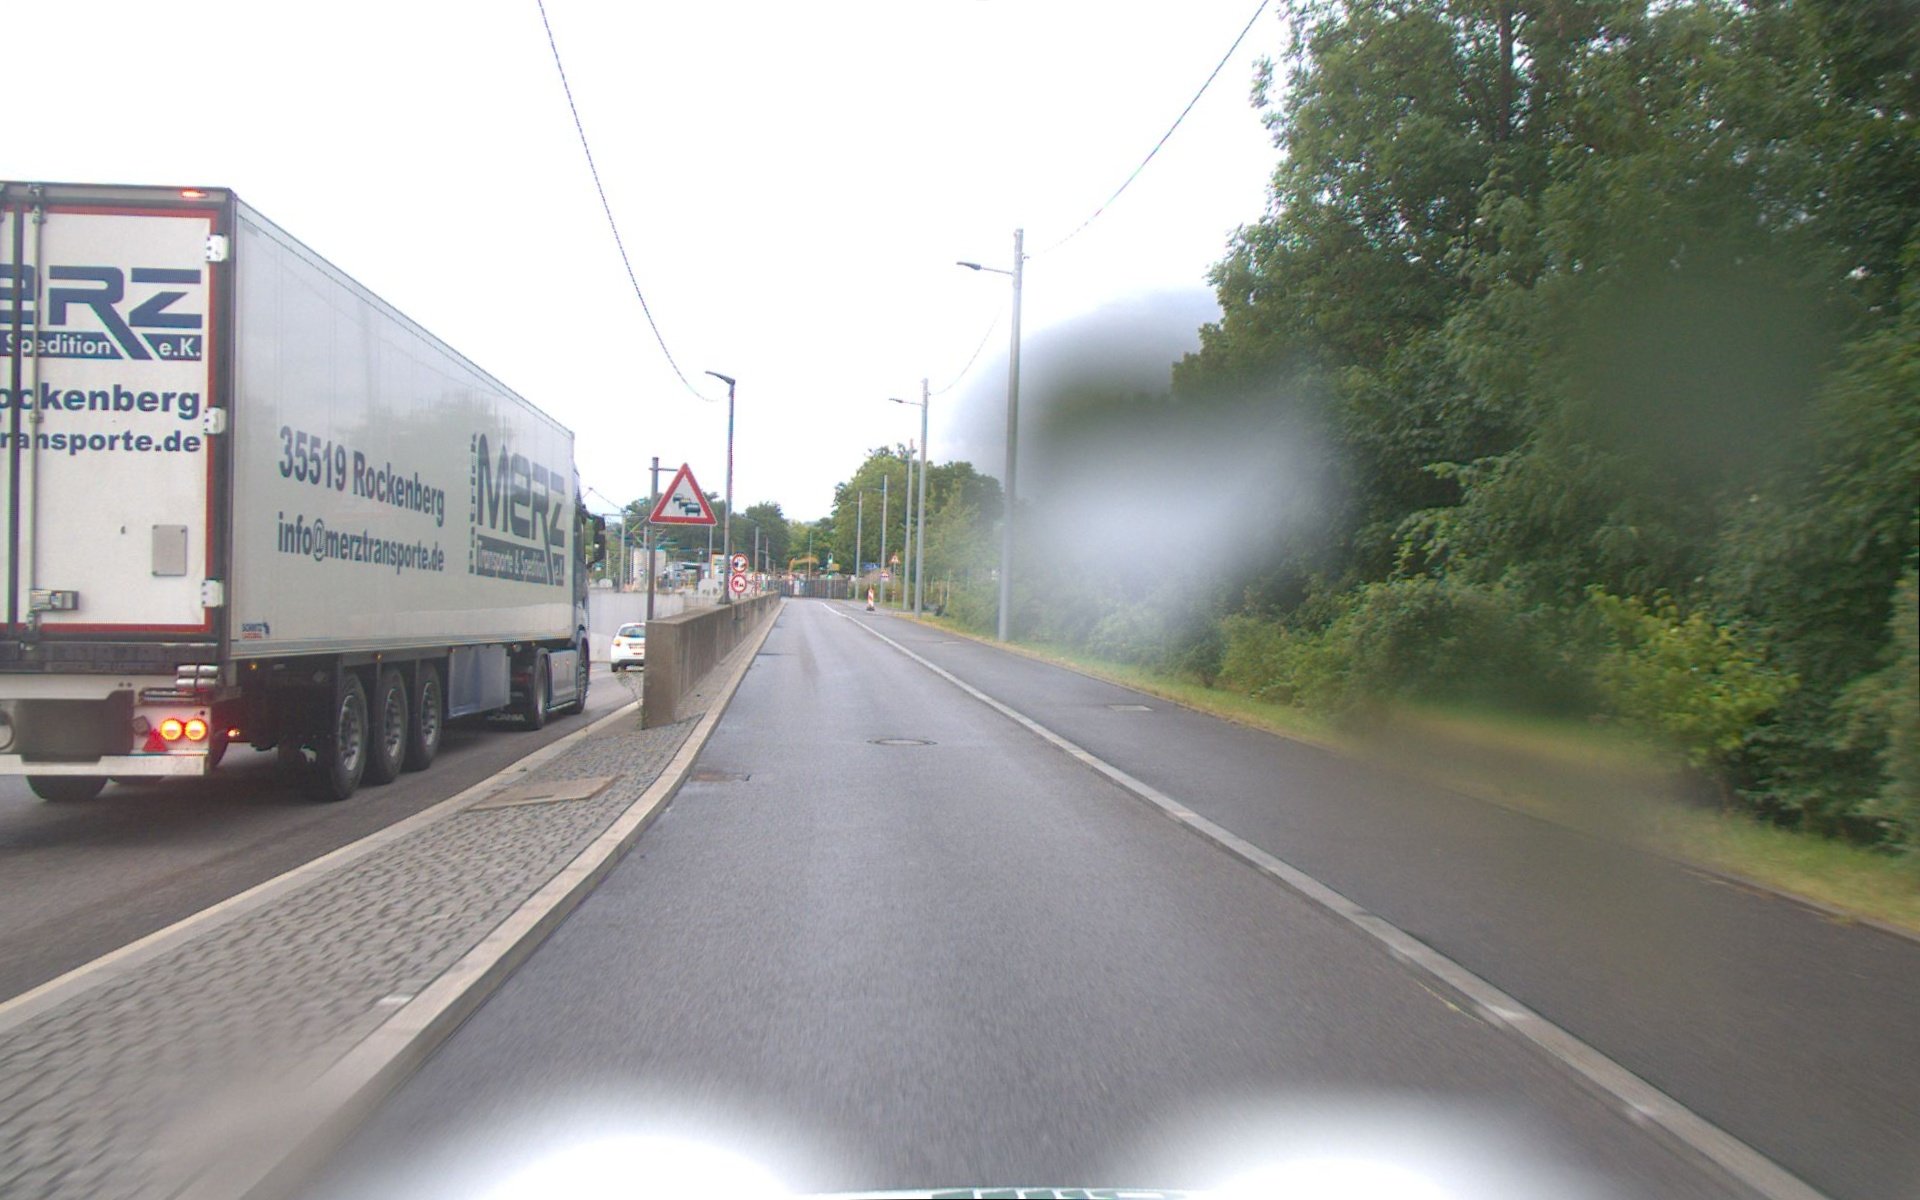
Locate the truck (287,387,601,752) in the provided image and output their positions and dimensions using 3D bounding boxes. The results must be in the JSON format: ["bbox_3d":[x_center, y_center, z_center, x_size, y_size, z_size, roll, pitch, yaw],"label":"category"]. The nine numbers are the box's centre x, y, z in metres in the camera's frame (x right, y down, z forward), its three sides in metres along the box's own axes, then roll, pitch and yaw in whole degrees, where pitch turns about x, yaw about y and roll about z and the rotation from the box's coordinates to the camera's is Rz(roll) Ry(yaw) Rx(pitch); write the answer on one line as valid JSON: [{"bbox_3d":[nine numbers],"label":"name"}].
[{"bbox_3d":[-6.756,-0.389,22.627,2.701,4.278,6.301,0,1,-4],"label":"truck"}]

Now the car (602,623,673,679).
[{"bbox_3d":[-9.942,1.536,51.232,1.775,1.448,3.996,1,2,-6],"label":"car"}]

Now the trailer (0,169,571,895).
[{"bbox_3d":[-6.290,-0.476,16.408,2.708,4.327,13.172,0,1,-4],"label":"trailer"}]
